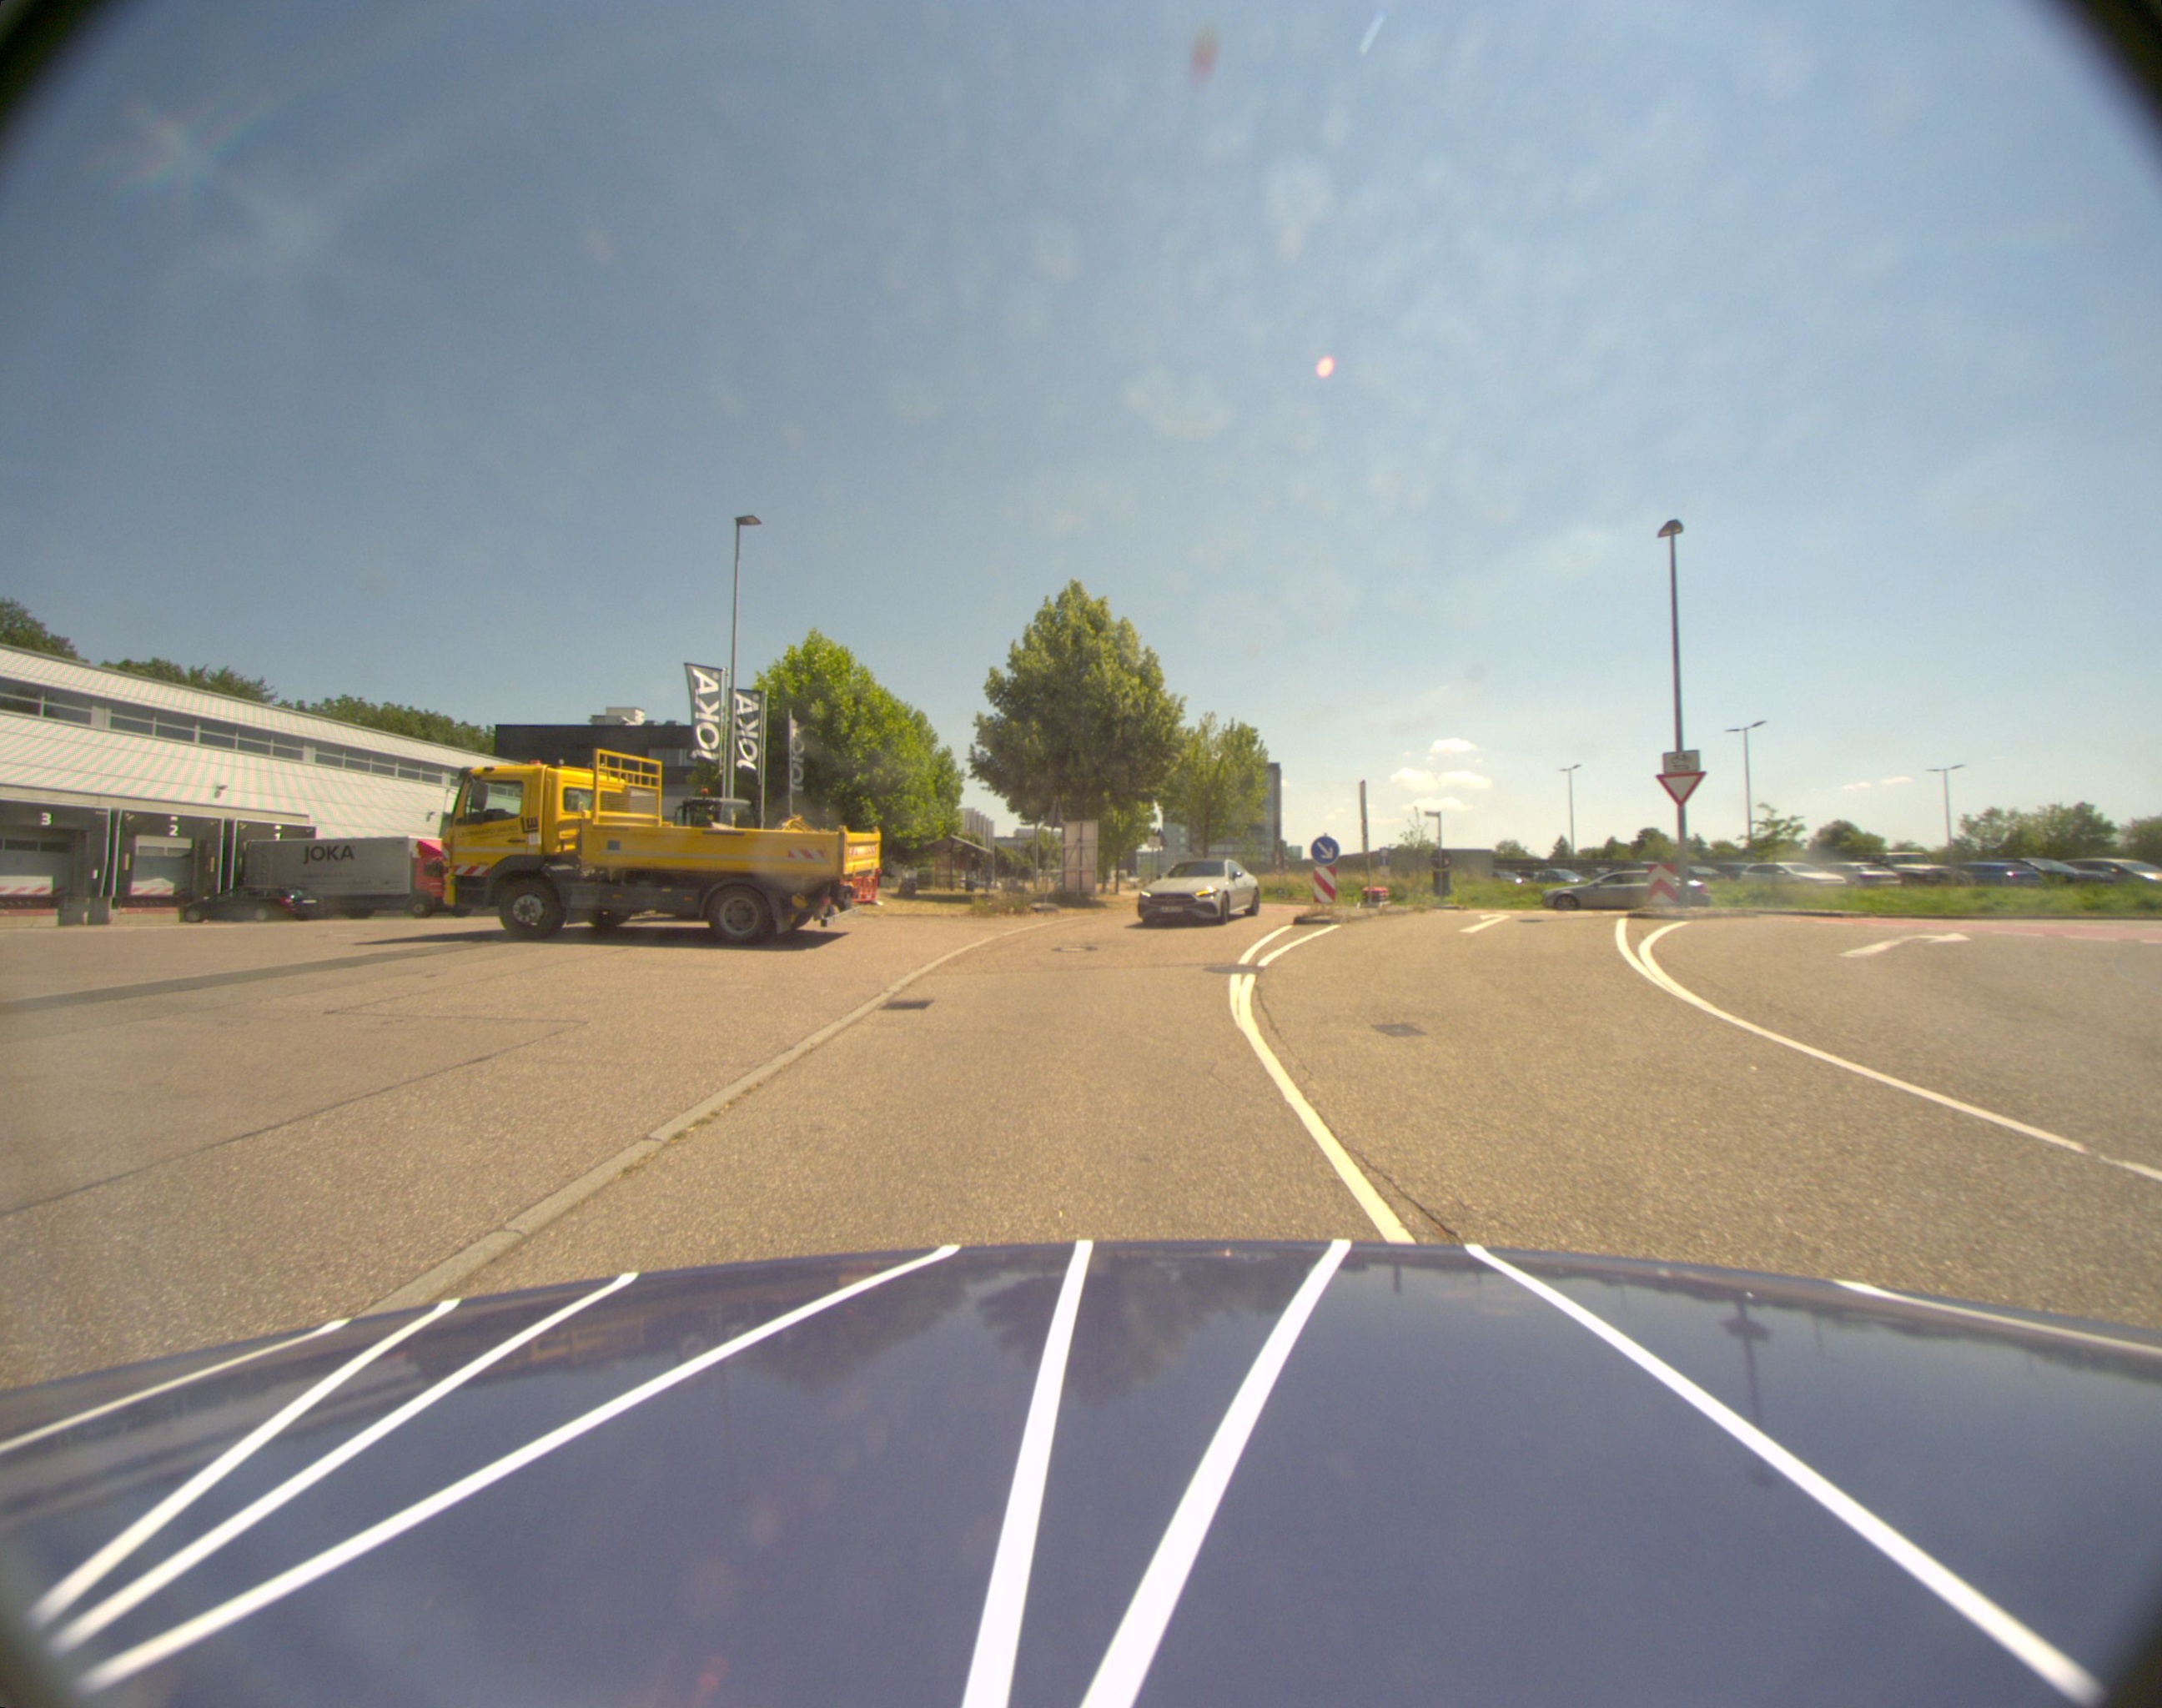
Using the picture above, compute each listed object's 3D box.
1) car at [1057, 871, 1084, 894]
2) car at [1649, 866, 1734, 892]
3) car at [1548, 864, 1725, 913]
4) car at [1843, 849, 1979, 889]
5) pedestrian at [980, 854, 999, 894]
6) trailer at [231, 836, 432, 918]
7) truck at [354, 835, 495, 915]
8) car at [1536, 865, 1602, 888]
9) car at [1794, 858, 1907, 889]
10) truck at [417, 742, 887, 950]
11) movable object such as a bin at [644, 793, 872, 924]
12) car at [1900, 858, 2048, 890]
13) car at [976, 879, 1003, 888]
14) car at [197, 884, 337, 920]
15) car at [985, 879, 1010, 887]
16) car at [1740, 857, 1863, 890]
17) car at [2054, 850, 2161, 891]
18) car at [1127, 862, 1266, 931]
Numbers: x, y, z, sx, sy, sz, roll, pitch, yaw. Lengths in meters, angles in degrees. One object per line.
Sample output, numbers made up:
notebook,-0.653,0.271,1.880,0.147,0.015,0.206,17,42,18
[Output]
car,-0.761,2.159,57.092,1.678,1.495,3.577,-1,-4,5
car,34.268,1.406,42.753,1.651,1.354,3.849,-1,-1,0
car,18.005,1.177,24.932,4.486,1.365,1.678,-4,-6,32
car,35.440,0.695,32.601,1.874,1.517,3.752,-2,-3,6
pedestrian,-3.893,0.866,32.218,0.578,1.659,0.532,-3,-5,29
trailer,-33.513,1.092,34.140,6.707,3.436,2.179,-1,-4,-1
truck,-29.397,0.993,34.157,4.342,3.429,2.159,-1,-4,0
car,31.155,1.456,48.607,1.652,1.437,3.639,0,-2,-6
car,32.874,0.864,32.564,1.500,1.174,3.272,-2,-3,1
truck,-6.821,-0.104,12.869,6.421,3.118,2.595,0,1,-2
movable object such as a bin,-7.287,0.104,18.256,1.997,2.566,6.581,-1,0,7
car,38.078,0.904,32.561,1.585,1.249,3.948,-2,-3,-2
car,-13.544,4.361,112.551,3.889,1.266,1.706,0,-1,0
car,-33.327,1.972,31.202,3.791,1.393,1.809,0,-4,2
car,-13.365,4.724,122.096,3.841,1.266,1.610,0,-1,0
car,30.443,0.866,32.291,1.573,1.289,3.880,-2,-3,2
car,43.407,0.690,31.302,1.616,1.614,3.850,0,-1,-1
car,2.835,0.911,17.663,1.894,1.375,4.642,-2,-2,26
